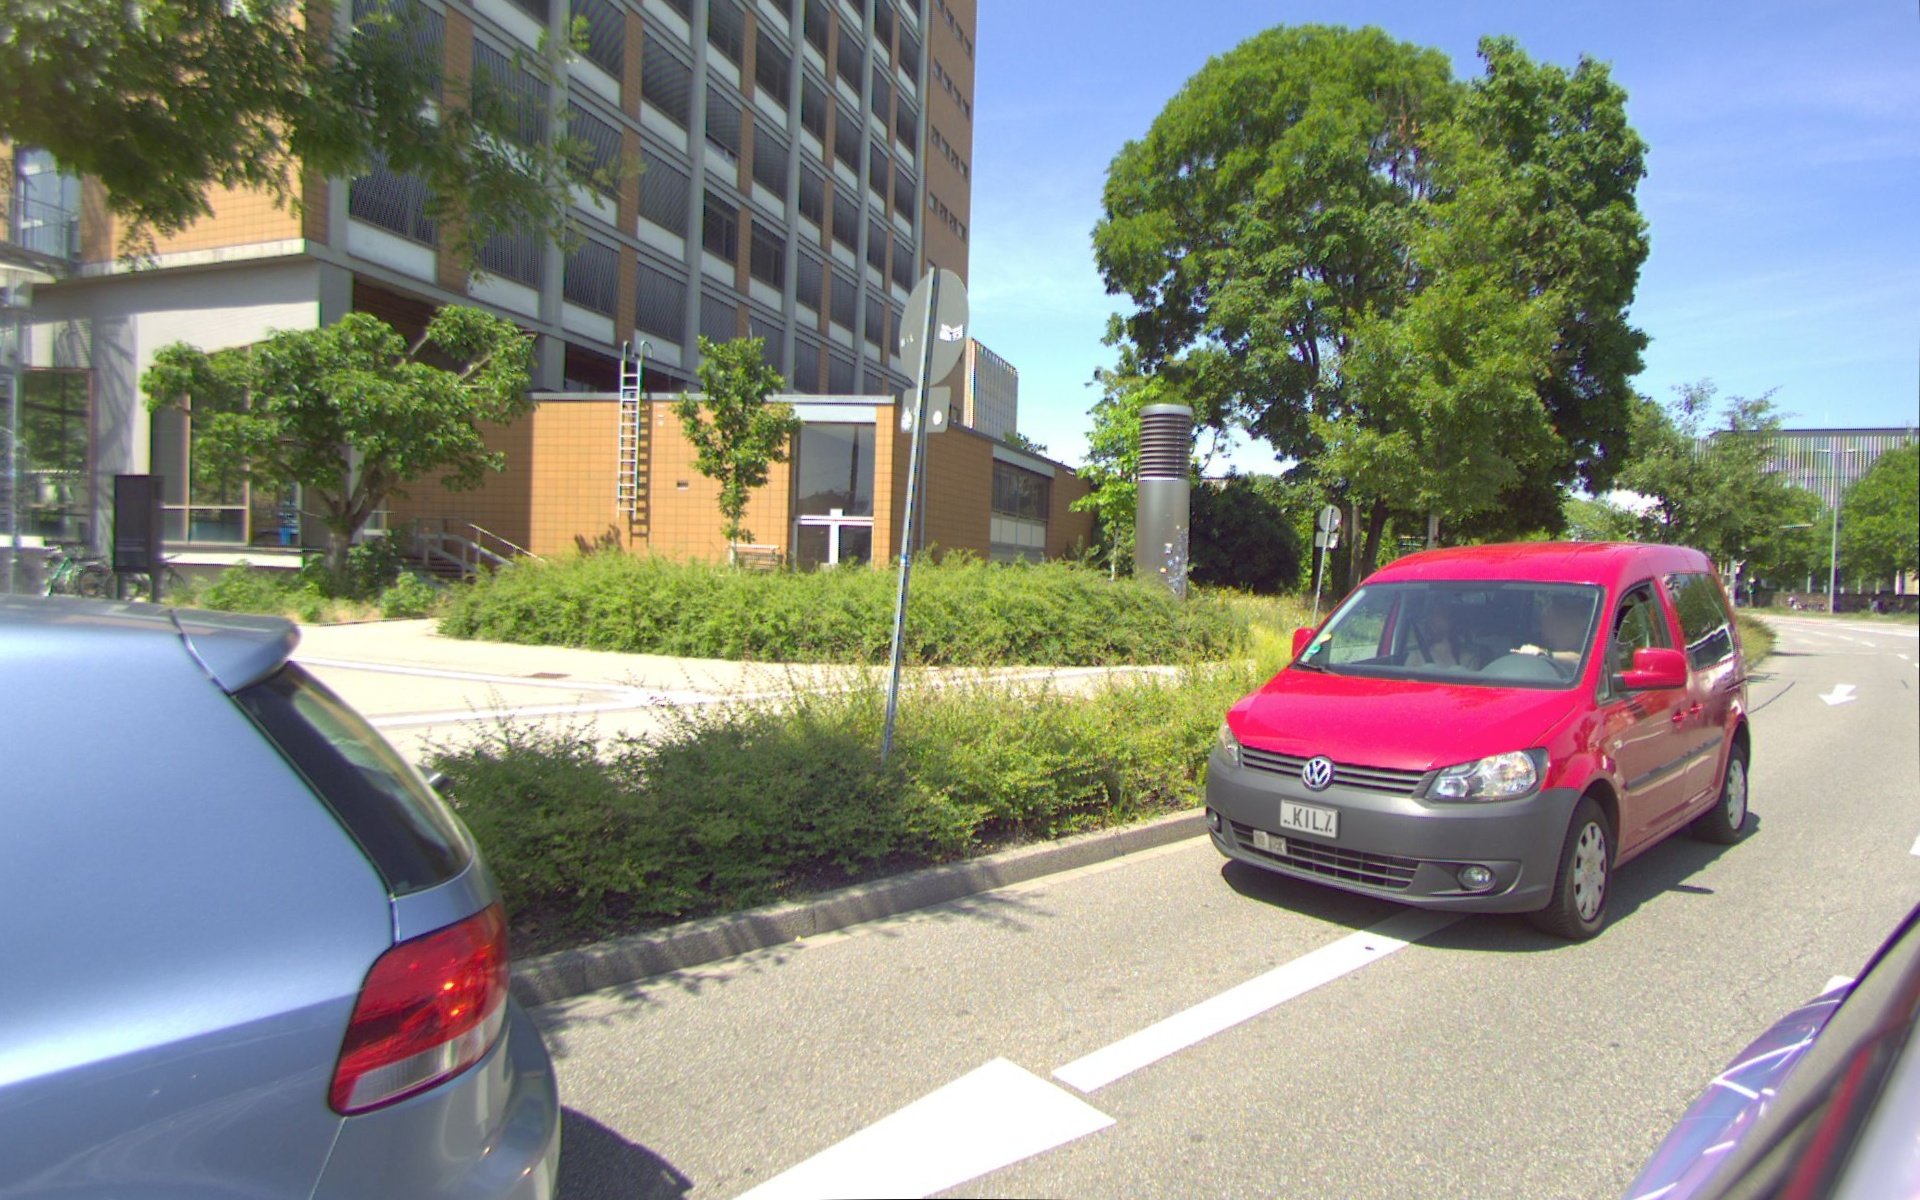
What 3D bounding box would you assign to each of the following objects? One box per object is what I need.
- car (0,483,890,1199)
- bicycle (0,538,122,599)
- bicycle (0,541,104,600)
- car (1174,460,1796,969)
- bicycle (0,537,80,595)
[{"bbox_3d":[-2.144,0.608,1.114,3.933,1.477,1.654,0,0,-41],"label":"car"},{"bbox_3d":[-19.376,-0.654,21.656,0.629,1.233,2.202,0,0,22],"label":"bicycle"},{"bbox_3d":[-20.042,-0.632,21.962,0.629,1.233,2.202,0,0,22],"label":"bicycle"},{"bbox_3d":[3.287,0.412,5.841,4.466,1.882,1.654,0,1,-41],"label":"car"},{"bbox_3d":[-20.764,-0.736,22.173,0.630,1.233,2.201,0,0,22],"label":"bicycle"}]
